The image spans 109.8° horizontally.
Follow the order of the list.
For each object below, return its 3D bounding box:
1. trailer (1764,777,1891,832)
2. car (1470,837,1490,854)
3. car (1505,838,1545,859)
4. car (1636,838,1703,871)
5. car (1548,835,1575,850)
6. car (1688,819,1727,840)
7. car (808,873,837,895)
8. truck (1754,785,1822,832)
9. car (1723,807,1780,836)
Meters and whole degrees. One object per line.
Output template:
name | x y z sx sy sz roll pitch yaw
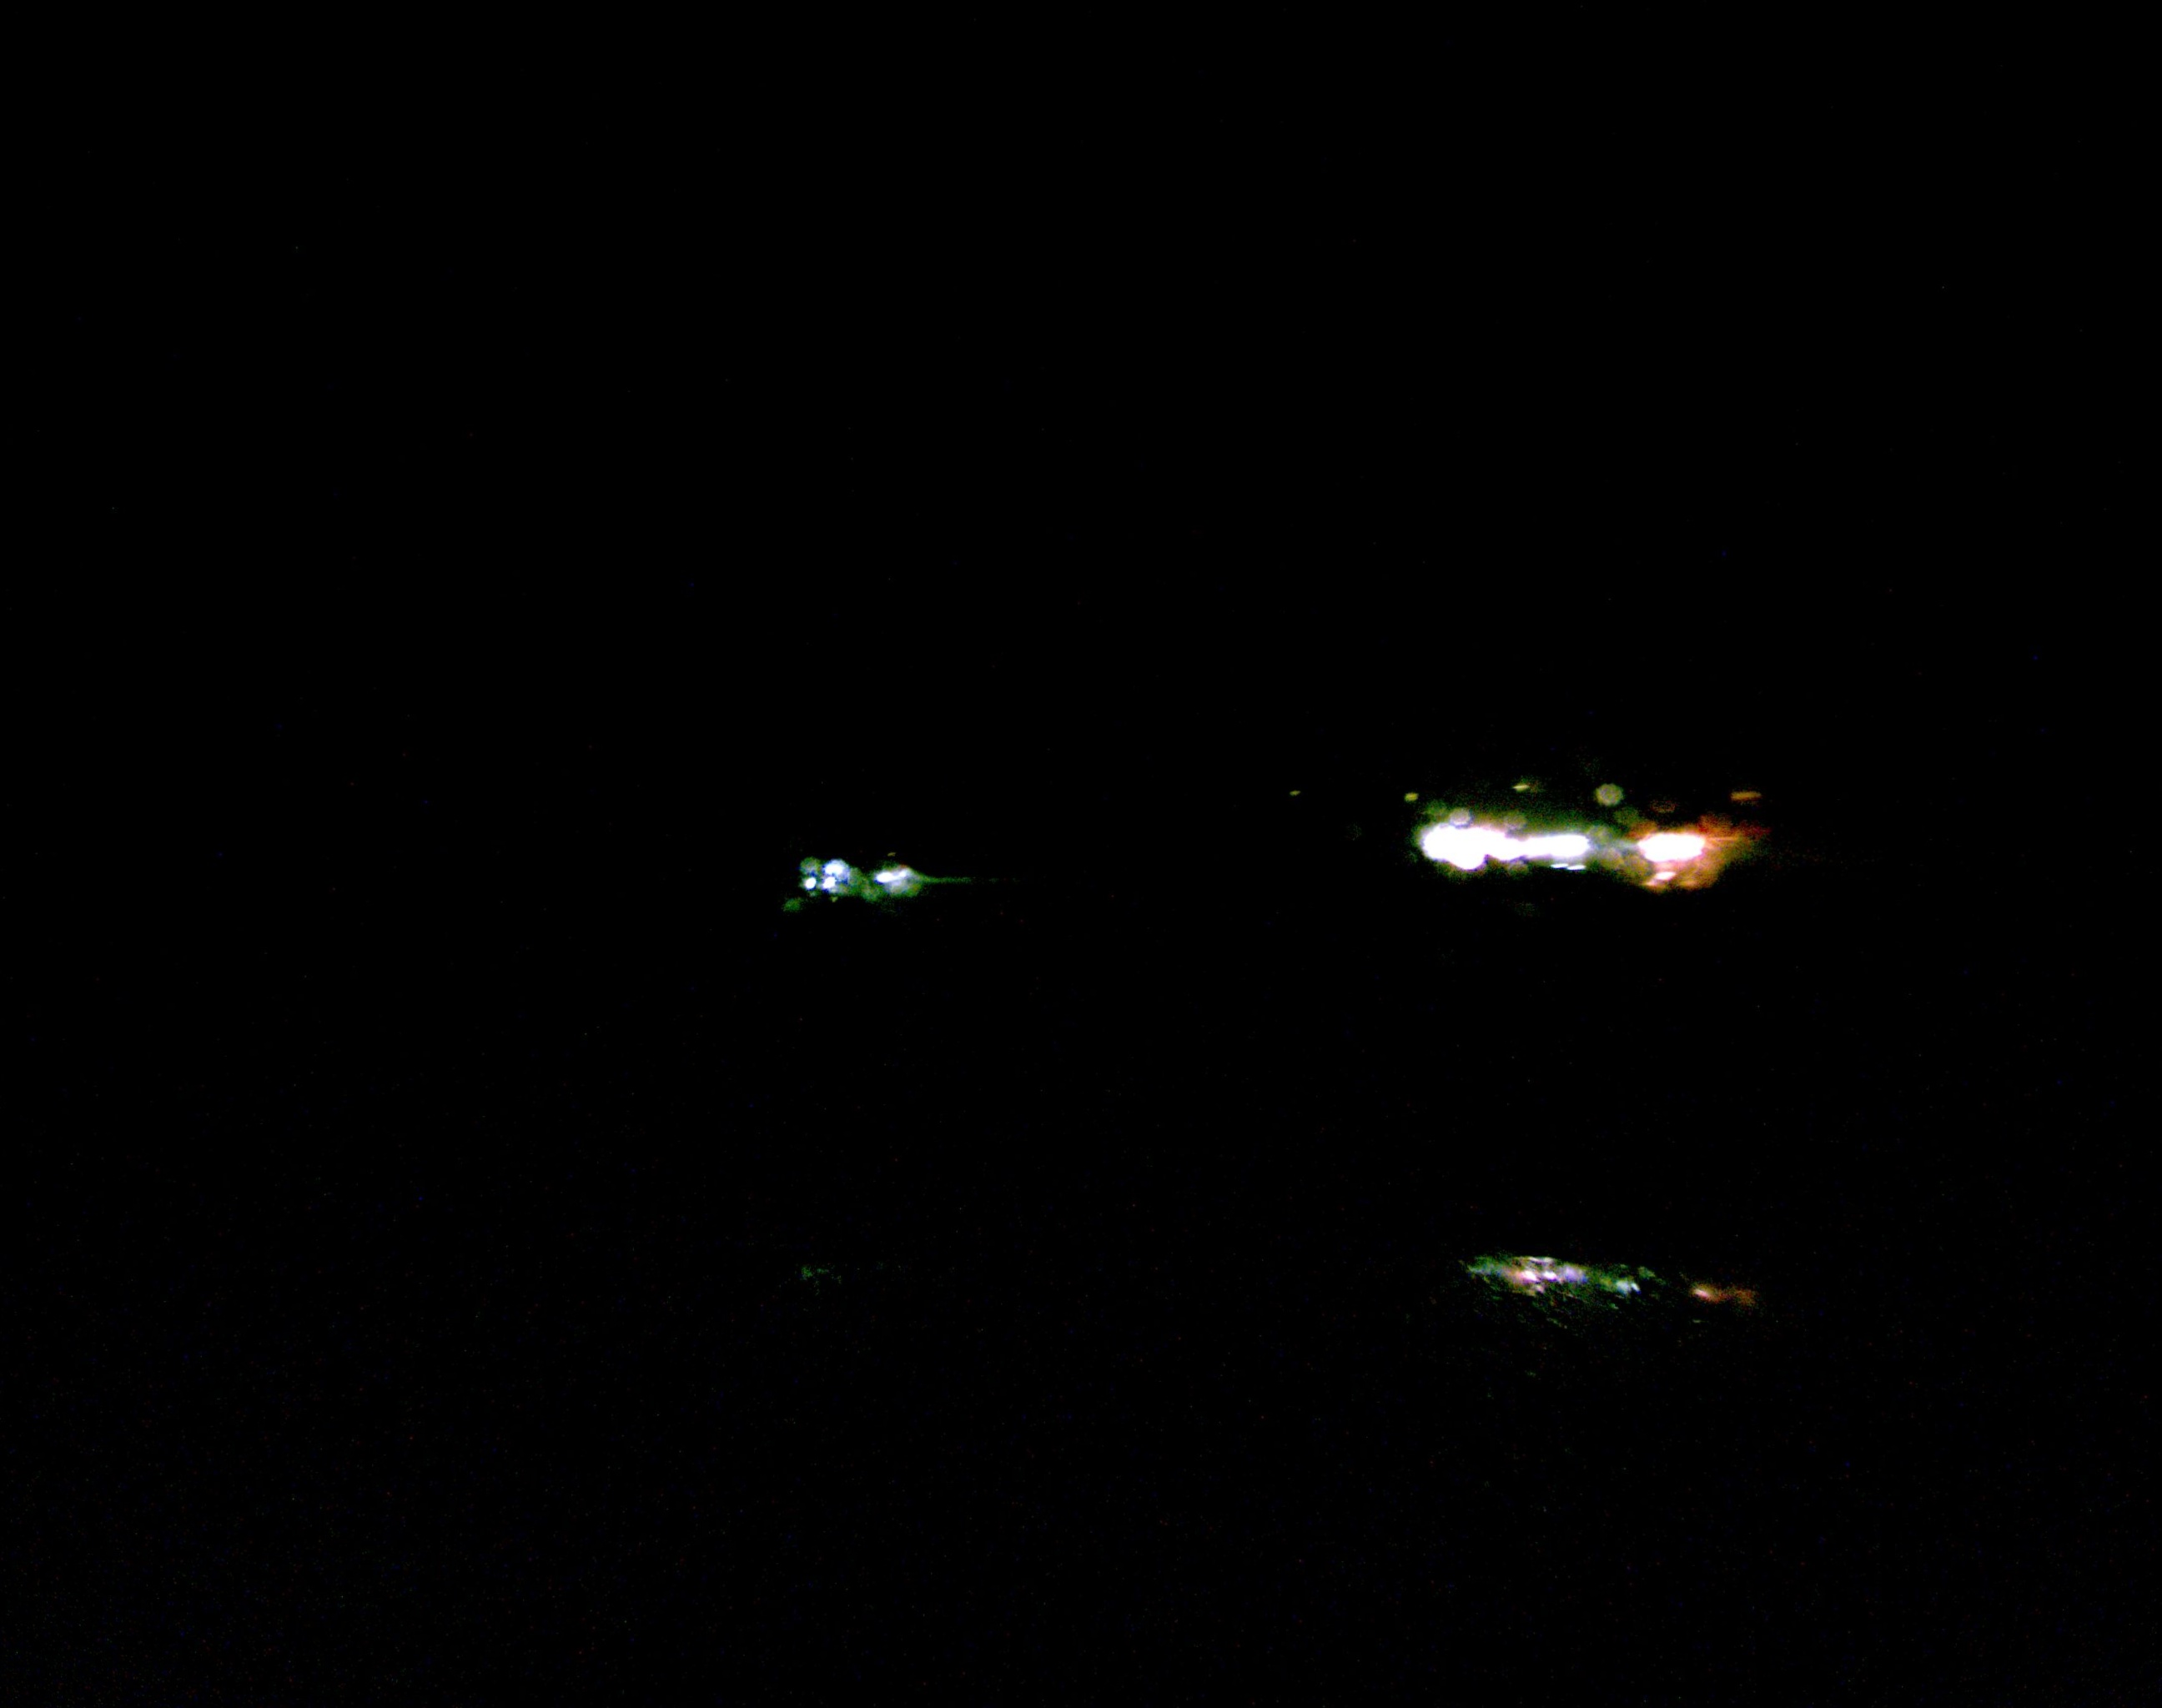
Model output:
trailer | 64.129 -4.039 65.828 2.773 4.005 14.034 -4 0 23
car | 52.069 -1.164 99.154 1.995 2.002 4.006 -4 0 26
car | 35.818 -0.462 61.406 1.919 1.587 4.004 -2 0 17
car | 31.273 -0.013 40.513 1.724 1.587 4.005 -2 0 22
car | 55.657 -1.312 88.123 1.918 1.587 4.005 -2 0 22
car | 65.454 -2.574 79.449 1.996 2.002 4.005 -5 0 22
car | -22.786 2.656 66.977 2.002 1.737 4.093 -5 0 -23
truck | 66.750 -4.218 71.850 2.773 4.005 5.757 -4 0 24
car | 51.751 -2.493 58.723 1.996 2.002 4.005 -5 0 22
